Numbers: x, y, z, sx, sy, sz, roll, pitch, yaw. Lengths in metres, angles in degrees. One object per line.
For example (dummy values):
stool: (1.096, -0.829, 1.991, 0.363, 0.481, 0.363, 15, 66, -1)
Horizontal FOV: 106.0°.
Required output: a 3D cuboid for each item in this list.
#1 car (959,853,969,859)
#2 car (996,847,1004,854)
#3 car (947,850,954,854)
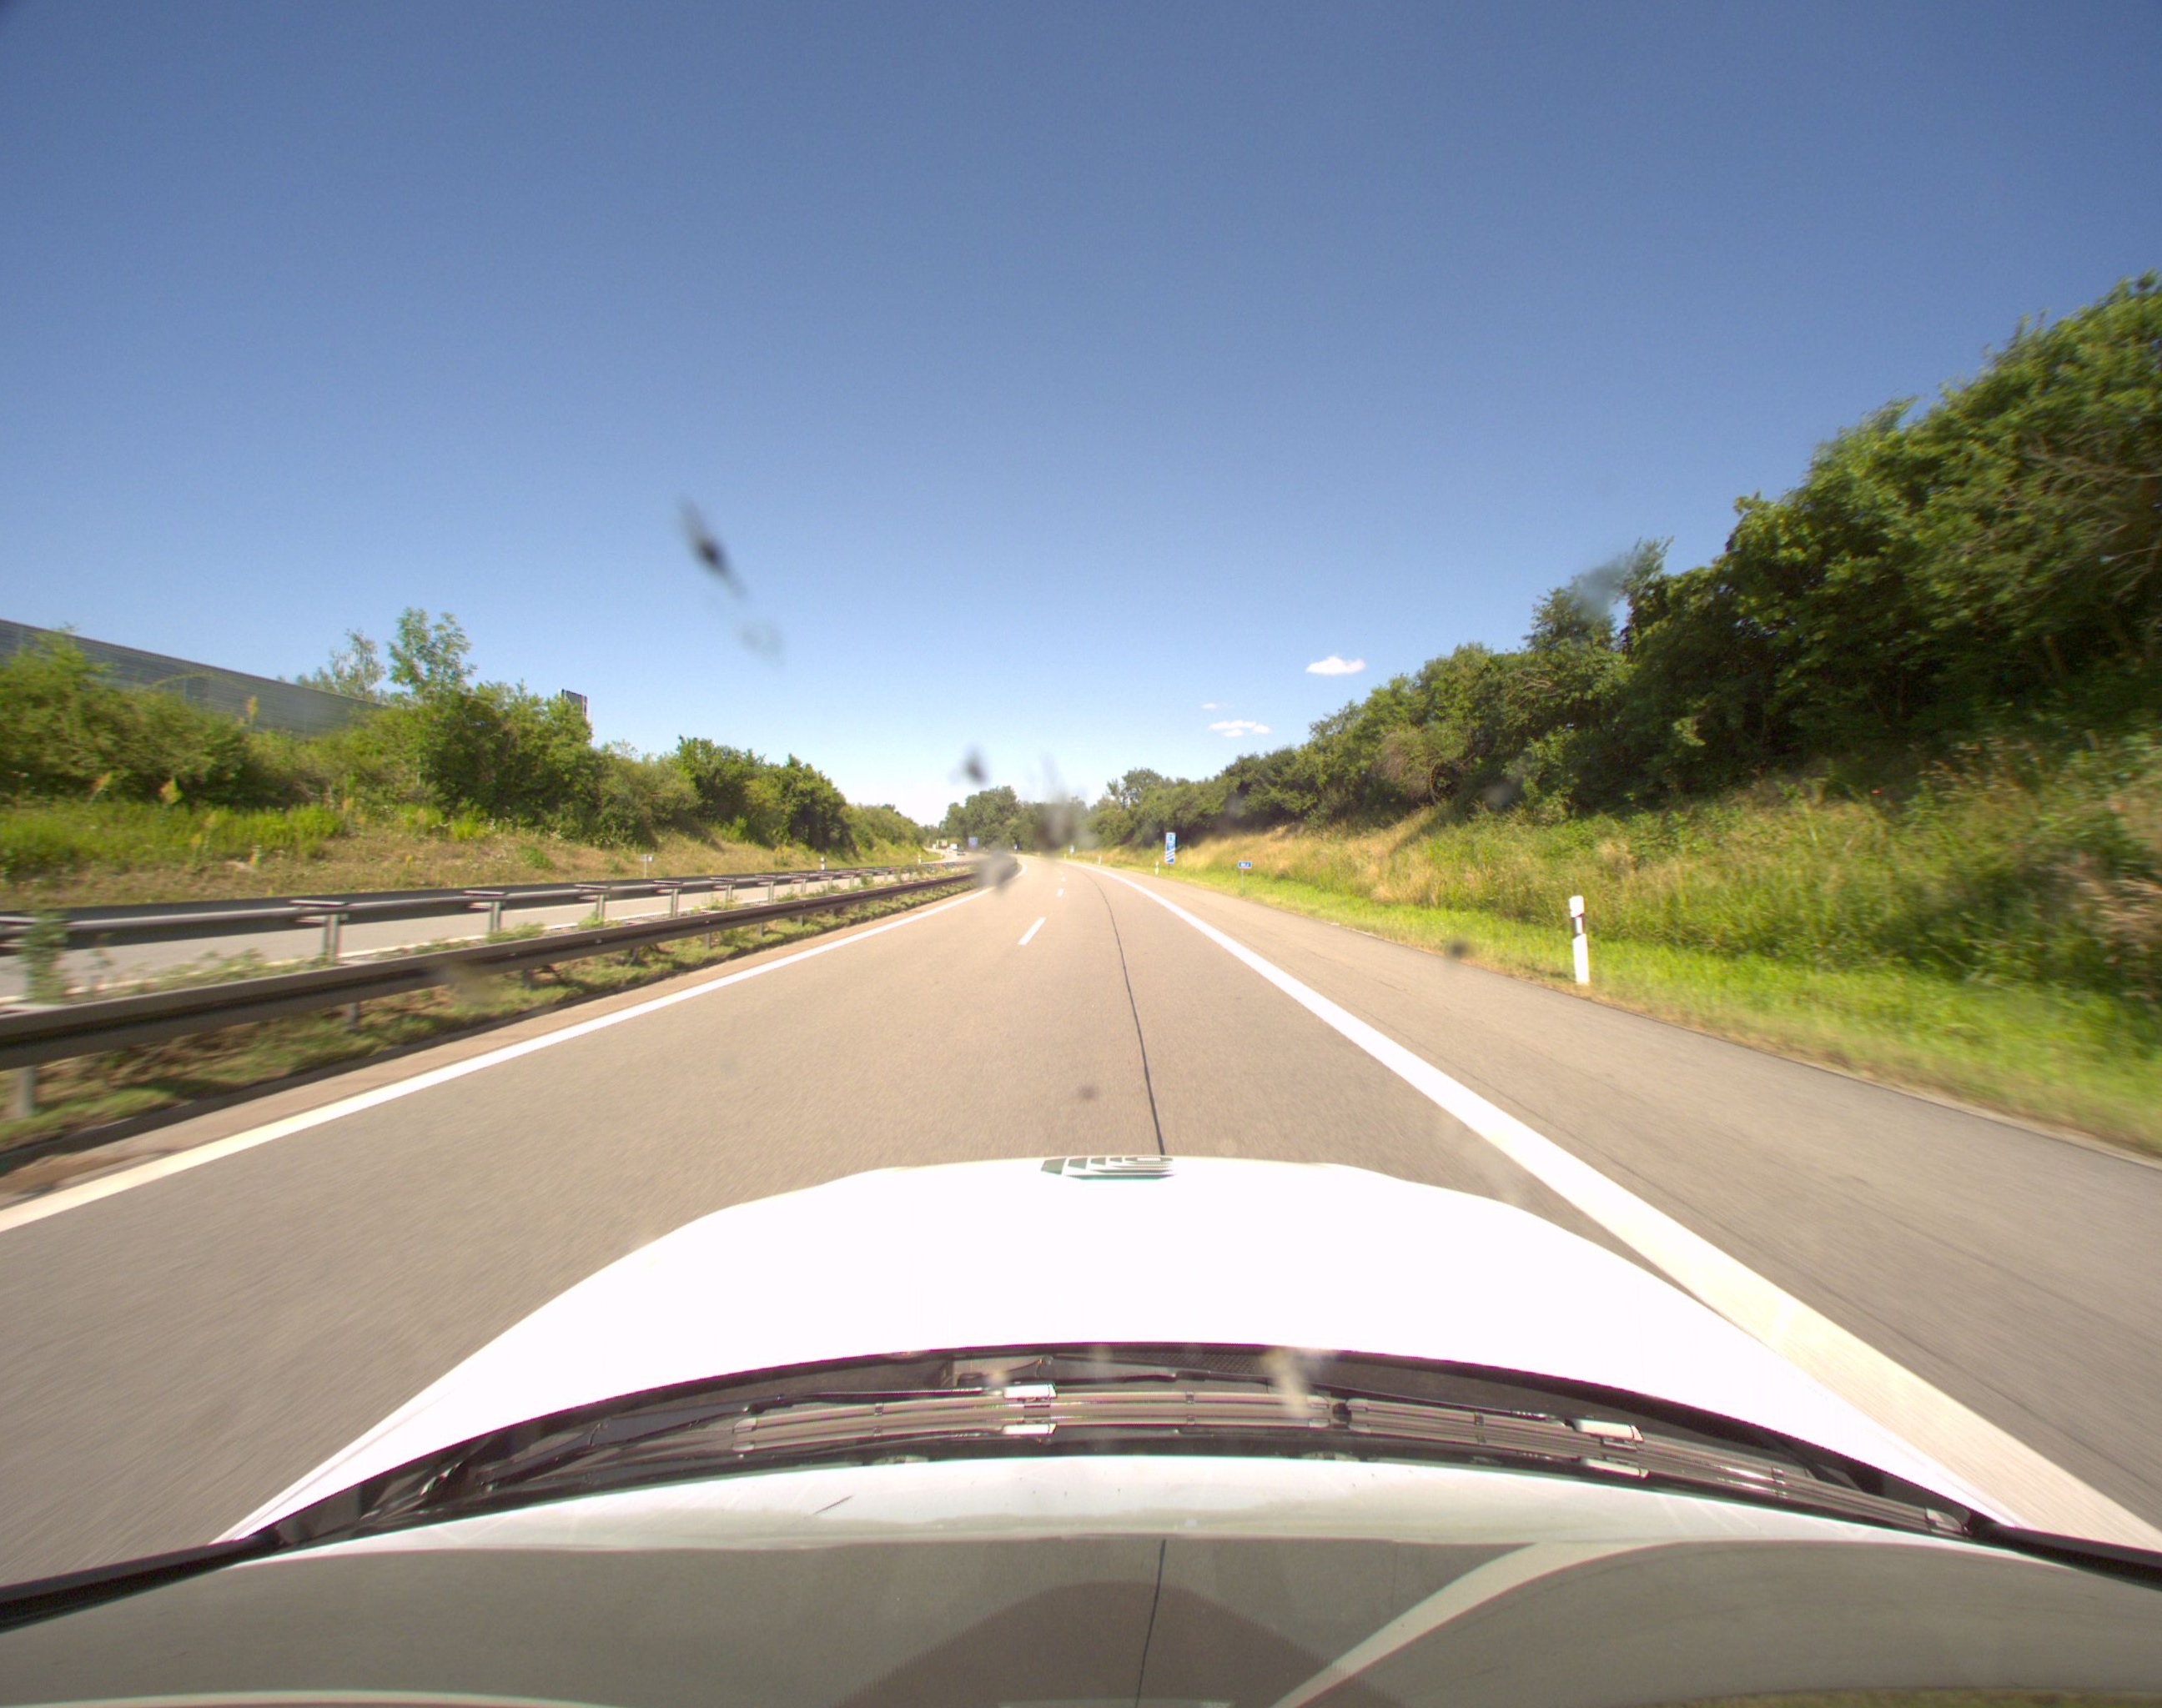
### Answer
car: (-28.660, 0.520, 199.899, 1.963, 1.564, 5.166, -1, 0, -4)
car: (-21.763, -0.896, 219.455, 2.059, 1.625, 3.990, 0, -2, -7)
car: (-40.582, -0.648, 254.145, 1.897, 1.422, 4.389, -1, 1, -6)
